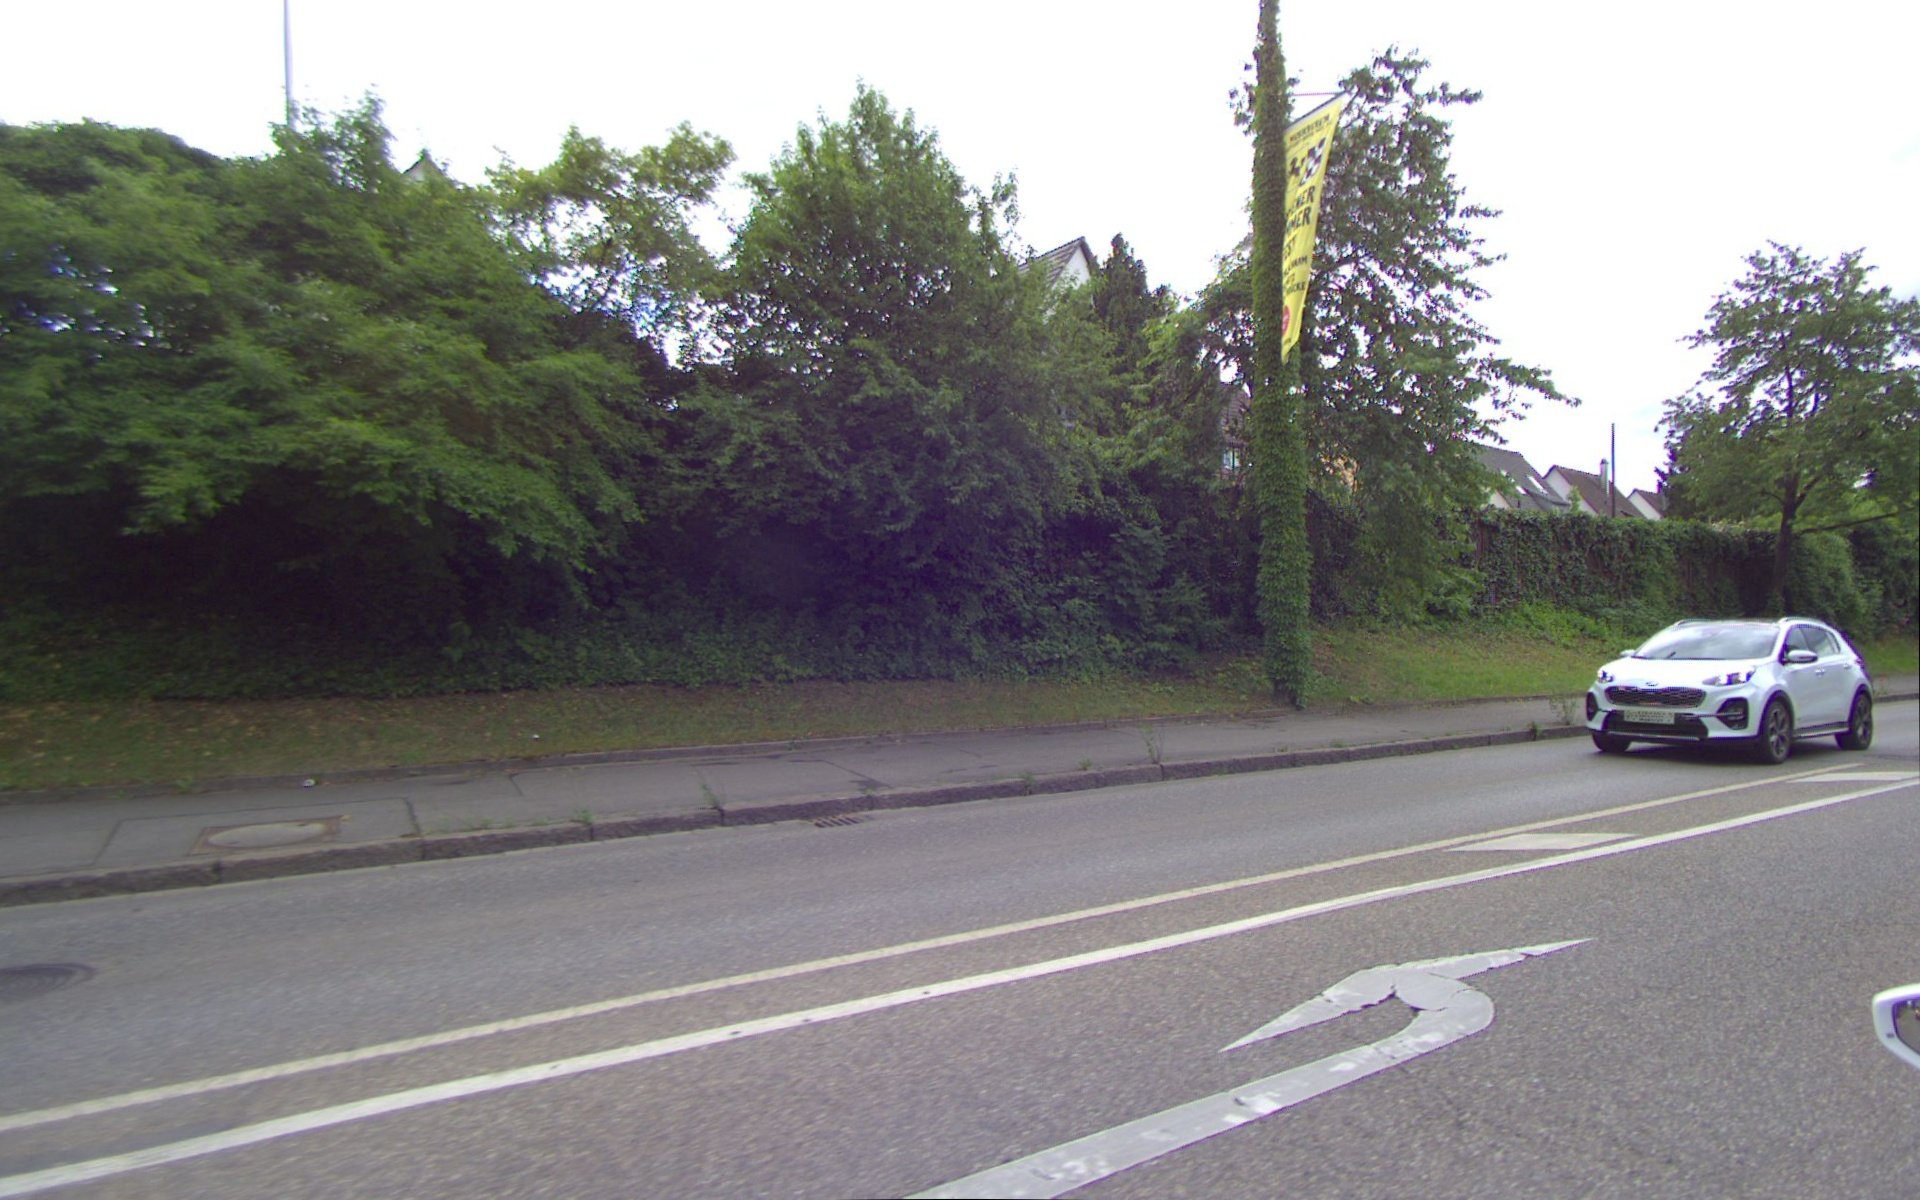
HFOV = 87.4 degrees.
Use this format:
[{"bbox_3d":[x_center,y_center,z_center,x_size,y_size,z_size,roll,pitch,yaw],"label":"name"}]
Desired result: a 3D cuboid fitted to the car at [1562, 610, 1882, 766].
[{"bbox_3d":[9.507,1.002,12.470,4.113,1.641,1.832,1,-3,-32],"label":"car"}]
